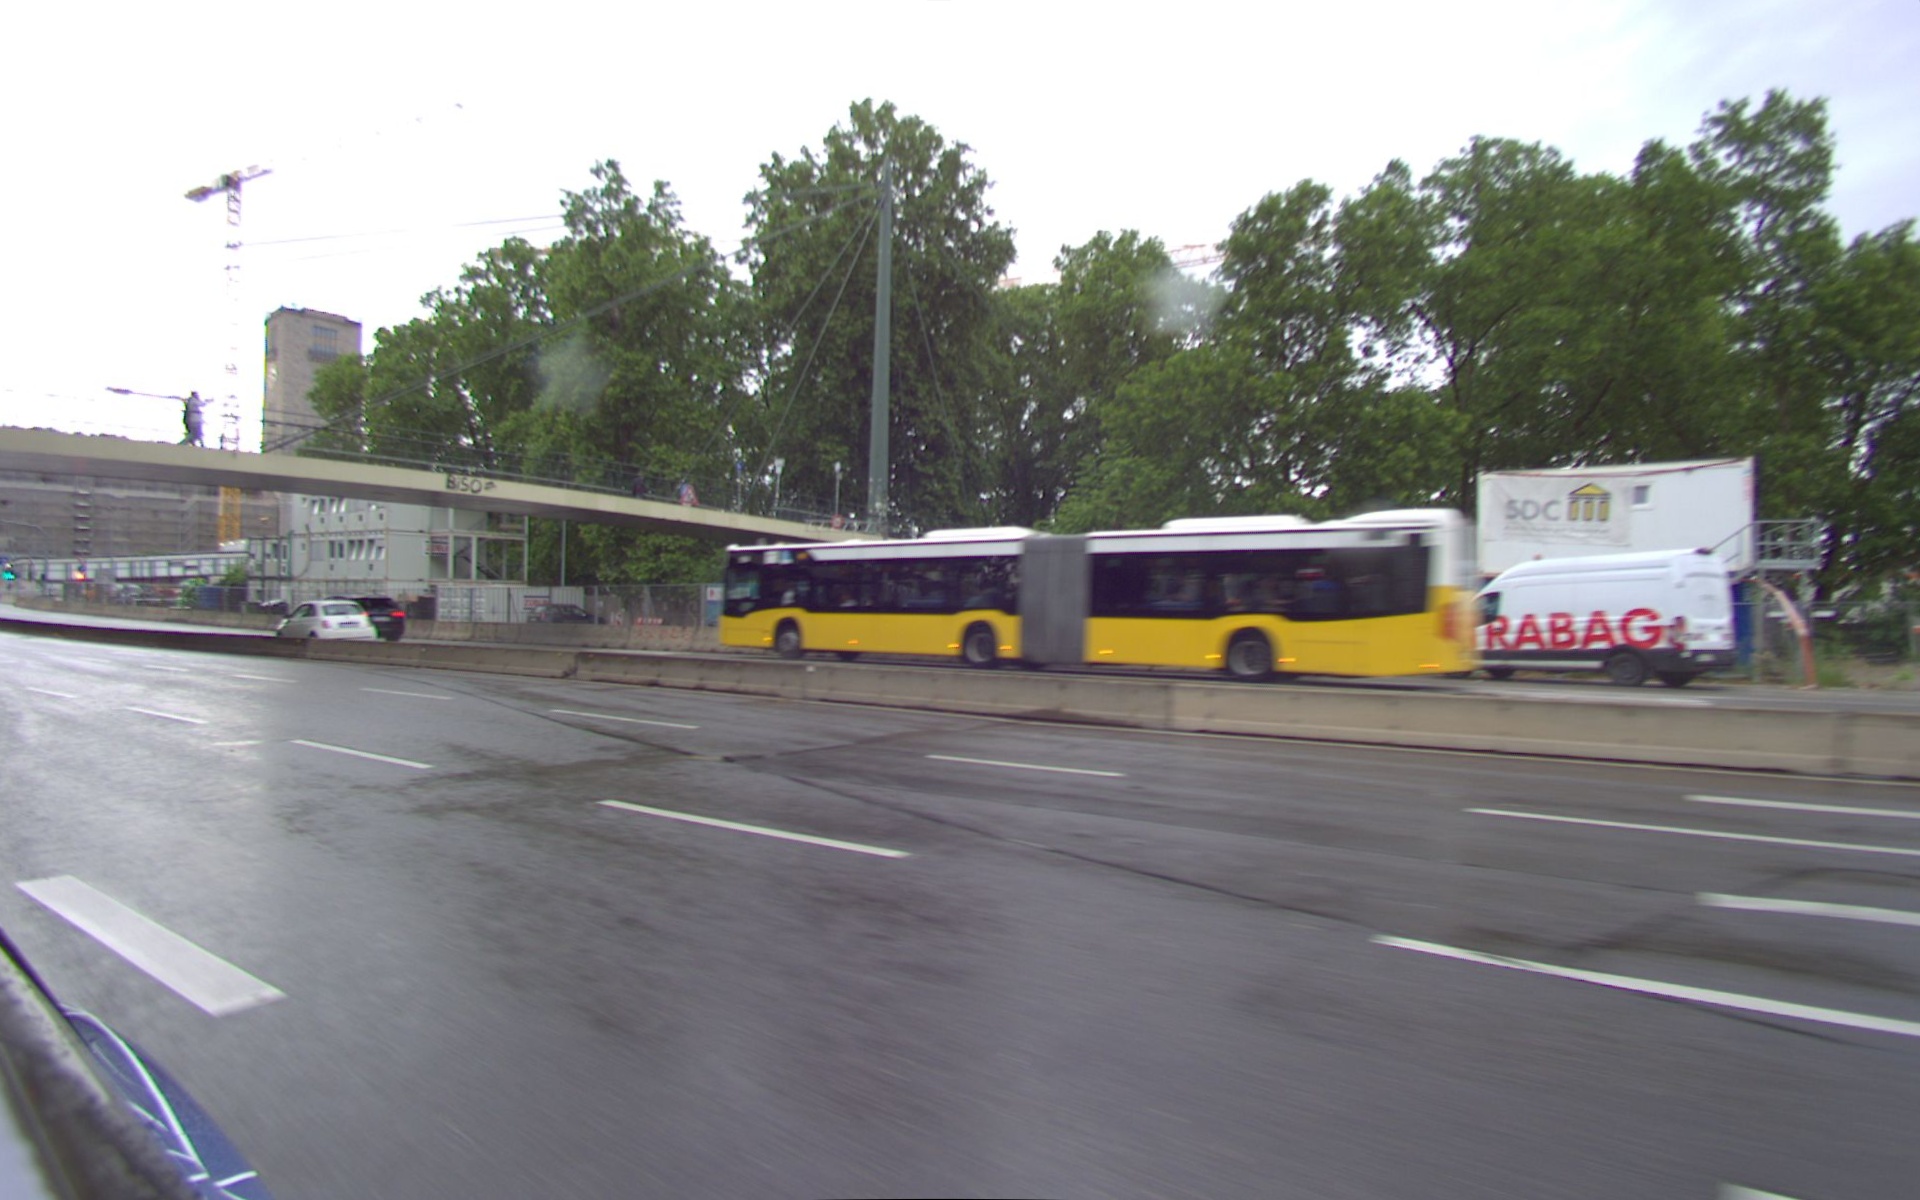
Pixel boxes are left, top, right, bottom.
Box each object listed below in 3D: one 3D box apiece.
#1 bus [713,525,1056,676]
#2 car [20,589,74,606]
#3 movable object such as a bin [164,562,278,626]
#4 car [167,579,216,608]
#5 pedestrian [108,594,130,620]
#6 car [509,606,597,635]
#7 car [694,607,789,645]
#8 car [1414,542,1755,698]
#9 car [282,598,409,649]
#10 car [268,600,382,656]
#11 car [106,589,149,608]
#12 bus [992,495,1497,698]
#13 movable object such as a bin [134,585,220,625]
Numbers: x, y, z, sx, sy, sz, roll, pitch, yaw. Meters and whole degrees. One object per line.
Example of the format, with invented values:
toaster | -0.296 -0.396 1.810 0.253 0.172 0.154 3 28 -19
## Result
bus | -2.123 0.035 25.170 8.790 3.209 2.781 0 -2 36
car | -117.590 -0.298 130.380 4.952 2.029 2.001 1 -1 -3
movable object such as a bin | -59.402 -0.486 81.305 8.336 4.839 4.711 1 -1 33
car | -84.944 -0.715 111.813 6.149 3.089 2.256 1 -1 32
pedestrian | -66.935 0.525 80.571 1.174 2.029 1.167 1 0 42
car | -21.910 1.094 54.559 1.995 1.454 3.954 1 -1 34
car | -9.970 1.203 46.528 1.949 1.640 4.398 1 -1 26
car | 13.124 0.390 21.871 1.965 2.897 6.072 2 -1 -28
car | -21.382 0.808 35.168 4.843 1.643 2.063 -1 -2 36
car | -18.781 0.811 29.899 3.444 1.500 1.694 1 -1 37
car | -82.177 -0.134 99.866 4.783 1.775 1.830 1 -1 33
bus | 5.116 -0.033 19.691 9.135 3.175 2.678 0 -1 37
movable object such as a bin | -66.857 0.454 86.372 6.370 3.152 3.900 1 -1 33
